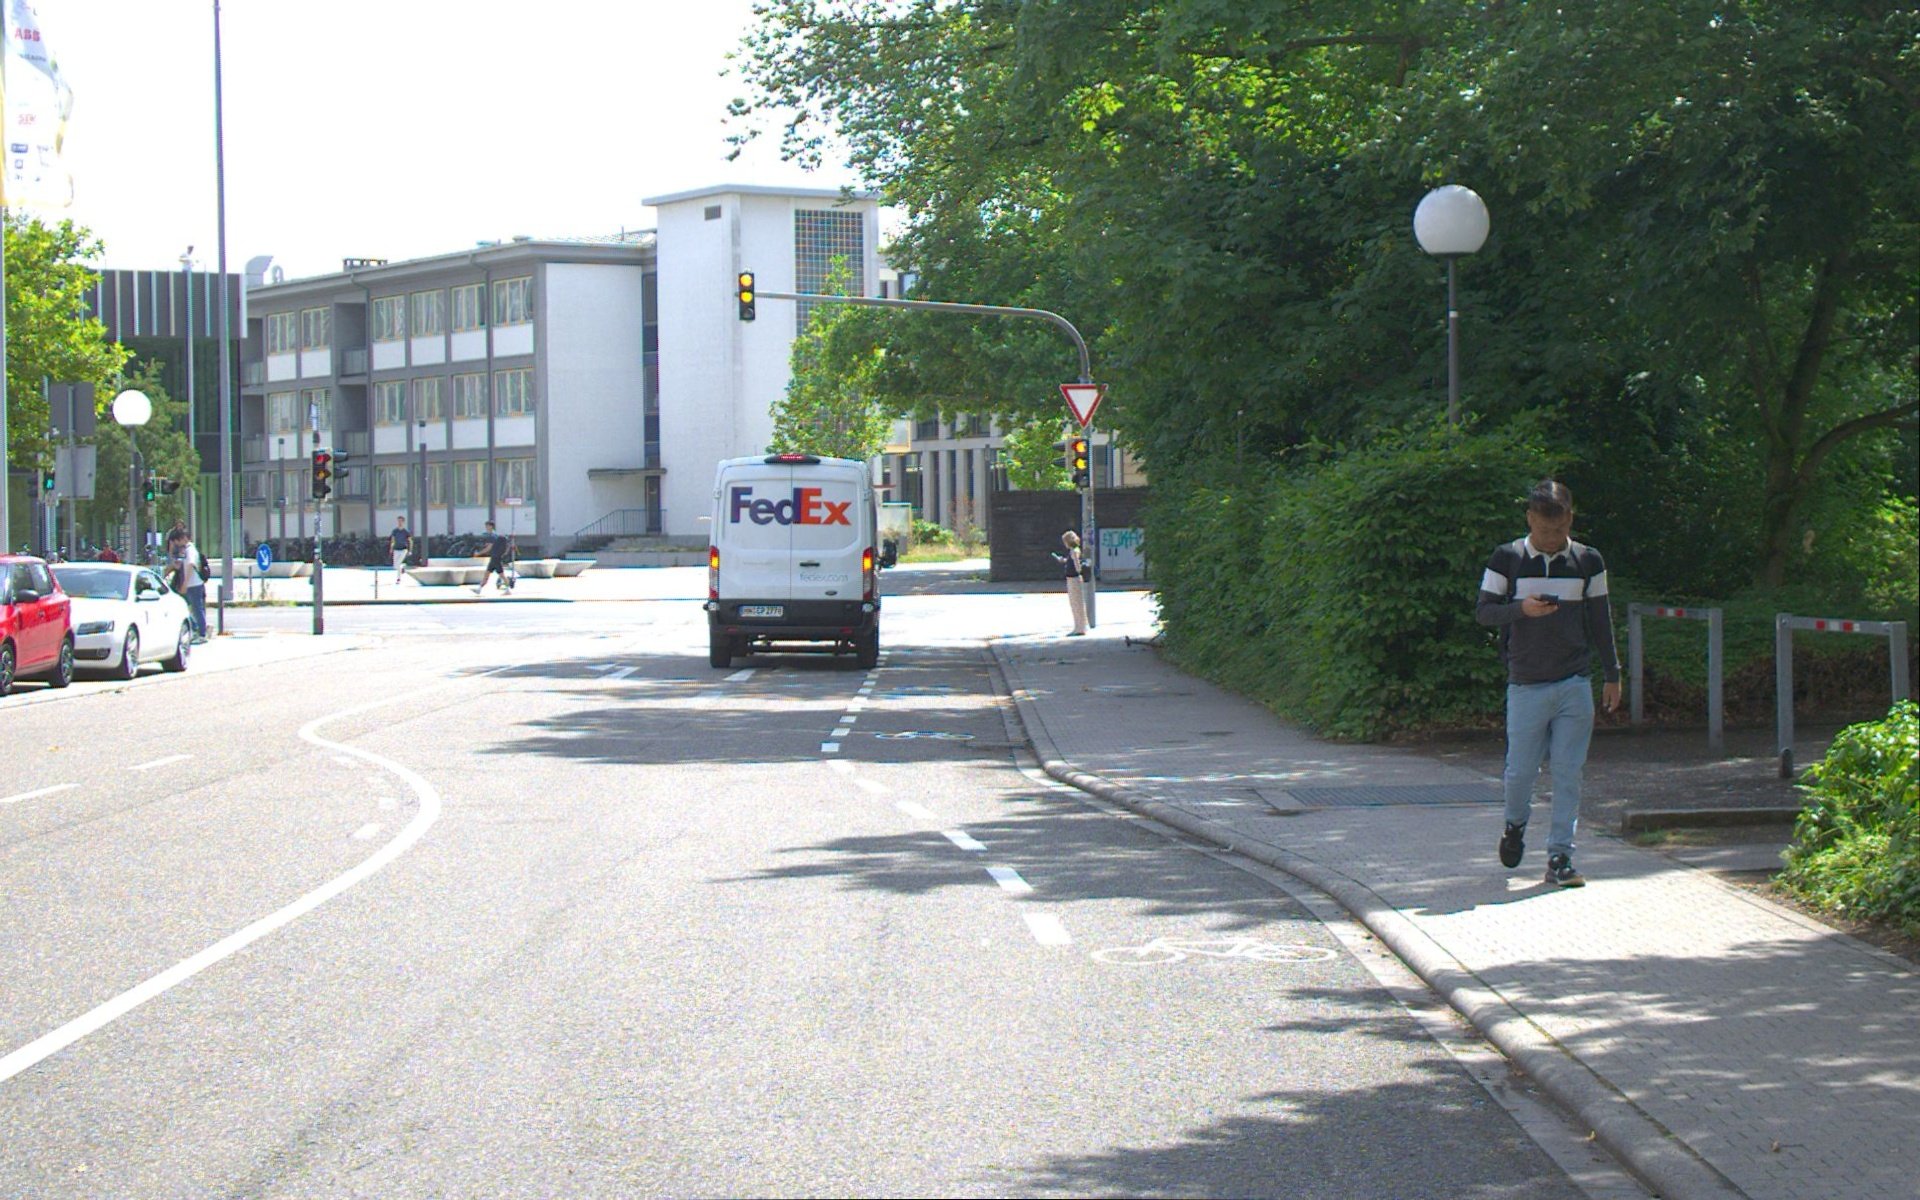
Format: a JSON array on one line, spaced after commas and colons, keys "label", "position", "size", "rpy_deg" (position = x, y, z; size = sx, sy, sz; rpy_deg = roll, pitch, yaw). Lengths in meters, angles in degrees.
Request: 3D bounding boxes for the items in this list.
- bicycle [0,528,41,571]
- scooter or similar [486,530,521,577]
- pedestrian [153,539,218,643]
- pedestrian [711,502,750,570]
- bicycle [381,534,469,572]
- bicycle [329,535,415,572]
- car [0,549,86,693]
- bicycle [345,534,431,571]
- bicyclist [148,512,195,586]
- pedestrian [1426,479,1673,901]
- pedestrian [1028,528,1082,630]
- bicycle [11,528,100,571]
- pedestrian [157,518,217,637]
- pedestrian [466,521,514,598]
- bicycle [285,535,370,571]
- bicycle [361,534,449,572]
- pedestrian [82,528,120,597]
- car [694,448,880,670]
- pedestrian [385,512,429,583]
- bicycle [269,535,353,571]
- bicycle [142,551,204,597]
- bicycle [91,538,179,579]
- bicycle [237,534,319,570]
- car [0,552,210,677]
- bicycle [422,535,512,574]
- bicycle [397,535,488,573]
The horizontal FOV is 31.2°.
[{"label": "bicycle", "position": [-28.100, -1.486, 100.831], "size": [1.197, 1.233, 2.950], "rpy_deg": [0, 1, -37]}, {"label": "scooter or similar", "position": [-11.669, -1.190, 87.803], "size": [0.716, 1.174, 2.726], "rpy_deg": [-1, 1, -11]}, {"label": "pedestrian", "position": [-12.434, -0.153, 55.229], "size": [0.843, 1.645, 0.746], "rpy_deg": [0, 1, 2]}, {"label": "pedestrian", "position": [-6.419, -1.784, 96.077], "size": [0.865, 1.882, 0.913], "rpy_deg": [-1, 1, -19]}, {"label": "bicycle", "position": [-19.244, -1.690, 123.689], "size": [2.956, 1.359, 1.117], "rpy_deg": [0, 1, -37]}, {"label": "bicycle", "position": [-21.722, -1.726, 126.970], "size": [2.956, 1.359, 1.117], "rpy_deg": [0, 1, -37]}, {"label": "car", "position": [-10.829, 0.190, 37.226], "size": [1.676, 1.462, 3.911], "rpy_deg": [2, 1, 0]}, {"label": "bicycle", "position": [-20.945, -1.735, 125.914], "size": [2.956, 1.359, 1.117], "rpy_deg": [0, 1, -37]}, {"label": "bicyclist", "position": [-19.561, -1.279, 85.332], "size": [0.790, 1.811, 0.999], "rpy_deg": [0, 1, 10]}, {"label": "pedestrian", "position": [2.422, 0.345, 14.256], "size": [0.739, 1.669, 1.257], "rpy_deg": [0, 1, -3]}, {"label": "pedestrian", "position": [1.485, -0.332, 53.732], "size": [0.731, 1.570, 0.776], "rpy_deg": [1, 1, -5]}, {"label": "bicycle", "position": [-26.688, -1.492, 101.428], "size": [2.949, 1.233, 1.198], "rpy_deg": [1, 1, 45]}, {"label": "pedestrian", "position": [-12.123, -0.363, 53.931], "size": [0.719, 1.853, 0.770], "rpy_deg": [0, 1, 2]}, {"label": "pedestrian", "position": [-11.624, -1.009, 85.088], "size": [1.080, 1.864, 0.832], "rpy_deg": [-1, 1, -2]}, {"label": "bicycle", "position": [-23.900, -1.777, 129.897], "size": [2.956, 1.359, 1.117], "rpy_deg": [0, 1, -37]}, {"label": "bicycle", "position": [-20.148, -1.718, 124.855], "size": [2.956, 1.359, 1.117], "rpy_deg": [0, 1, -37]}, {"label": "pedestrian", "position": [-20.791, -0.912, 83.219], "size": [0.753, 1.672, 0.755], "rpy_deg": [-1, 1, -4]}, {"label": "car", "position": [-2.080, -0.543, 42.869], "size": [2.095, 2.558, 5.603], "rpy_deg": [-1, 1, -1]}, {"label": "pedestrian", "position": [-14.839, -1.407, 92.271], "size": [0.703, 1.849, 1.398], "rpy_deg": [-1, 3, 9]}, {"label": "bicycle", "position": [-24.808, -1.804, 131.383], "size": [2.956, 1.359, 1.117], "rpy_deg": [0, 1, -37]}, {"label": "bicycle", "position": [-19.555, -0.652, 85.434], "size": [0.771, 1.118, 2.025], "rpy_deg": [0, 1, 10]}, {"label": "bicycle", "position": [-24.799, -1.256, 103.330], "size": [2.949, 1.233, 1.198], "rpy_deg": [1, 1, 45]}, {"label": "bicycle", "position": [-26.666, -1.873, 134.410], "size": [2.956, 1.359, 1.117], "rpy_deg": [0, 1, -37]}, {"label": "car", "position": [-10.625, 0.139, 42.407], "size": [1.676, 1.390, 4.662], "rpy_deg": [2, 1, 0]}, {"label": "bicycle", "position": [-17.407, -1.614, 121.405], "size": [2.956, 1.359, 1.117], "rpy_deg": [0, 1, -37]}, {"label": "bicycle", "position": [-18.462, -1.639, 122.672], "size": [2.956, 1.359, 1.275], "rpy_deg": [0, 1, -37]}]
